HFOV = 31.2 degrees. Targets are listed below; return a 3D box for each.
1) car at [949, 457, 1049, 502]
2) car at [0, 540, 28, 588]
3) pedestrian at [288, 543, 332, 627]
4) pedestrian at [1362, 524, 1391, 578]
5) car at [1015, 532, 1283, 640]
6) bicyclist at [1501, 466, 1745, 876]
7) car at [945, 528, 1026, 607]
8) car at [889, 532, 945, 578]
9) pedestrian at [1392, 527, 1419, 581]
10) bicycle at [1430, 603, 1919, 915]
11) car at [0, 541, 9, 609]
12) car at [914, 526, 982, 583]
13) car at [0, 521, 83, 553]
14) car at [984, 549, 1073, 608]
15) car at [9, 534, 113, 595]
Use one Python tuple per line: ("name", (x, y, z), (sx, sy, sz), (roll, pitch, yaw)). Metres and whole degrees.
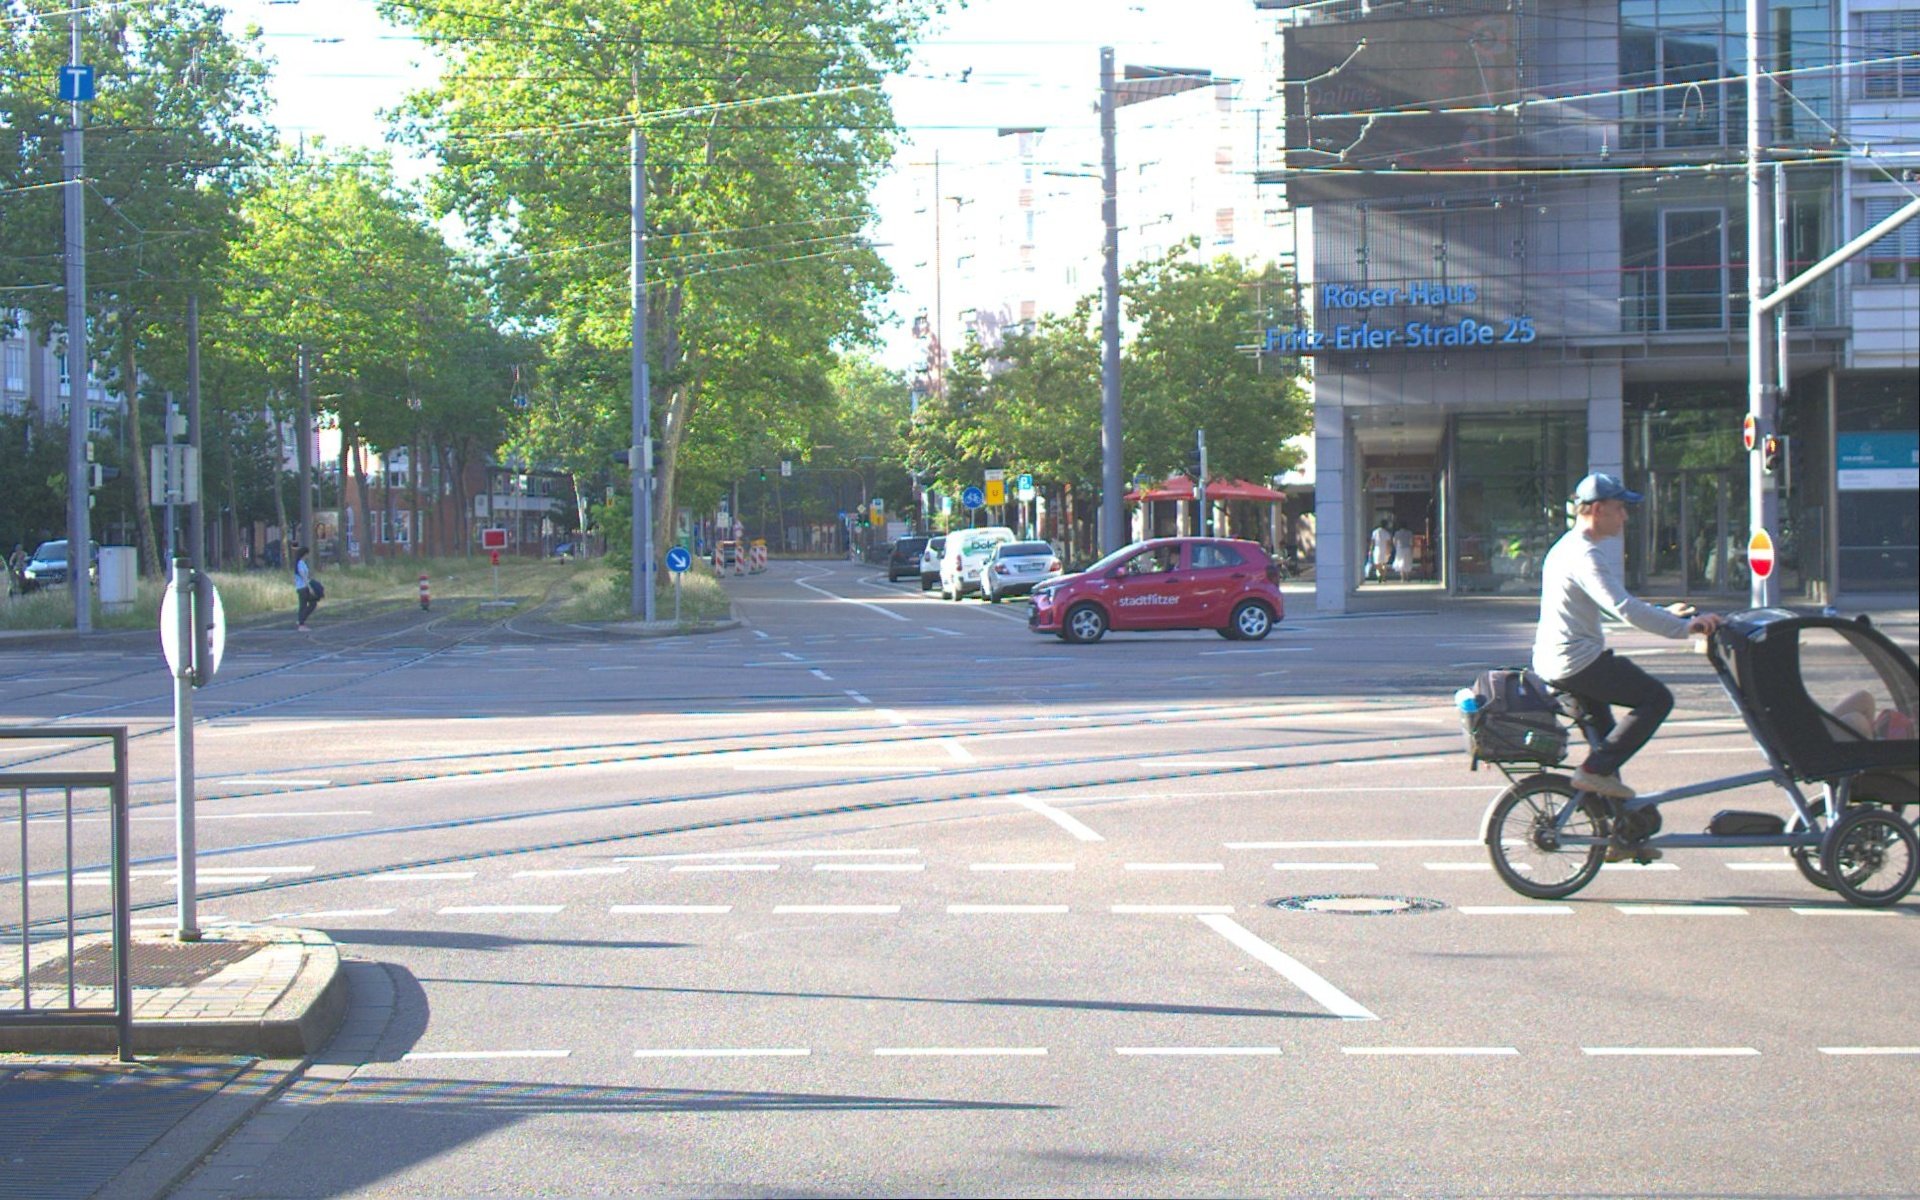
("car", (1.596, -4.910, 140.539), (3.764, 1.744, 1.780), (1, 0, 14))
("car", (-31.382, -1.181, 111.568), (1.906, 1.505, 4.001), (1, 1, -12))
("pedestrian", (-11.934, -0.276, 63.172), (0.754, 1.525, 0.508), (0, 1, -7))
("pedestrian", (11.410, -1.350, 94.181), (0.739, 1.460, 0.536), (-1, 1, 9))
("car", (2.694, -0.212, 49.437), (3.595, 1.461, 1.796), (-1, 1, -6))
("bicyclist", (2.778, 0.286, 14.469), (0.904, 1.675, 0.691), (-1, 1, 3))
("car", (0.640, -0.873, 89.697), (1.993, 1.985, 4.000), (-1, 1, -1))
("car", (-1.594, -1.664, 126.725), (1.993, 1.656, 4.000), (-1, 1, -1))
("pedestrian", (12.156, -1.265, 93.824), (0.706, 1.460, 0.384), (-1, 1, 9))
("bicycle", (3.100, 0.646, 14.431), (2.157, 1.222, 1.072), (0, 2, 3))
("car", (-21.972, -0.513, 74.466), (1.993, 1.503, 4.001), (-1, 1, -6))
("car", (-0.385, -1.398, 105.008), (1.993, 1.656, 4.000), (-1, 1, -1))
("car", (-46.438, -3.178, 173.429), (3.987, 1.547, 1.607), (1, 1, -31))
("car", (1.629, -0.537, 82.862), (1.993, 1.327, 4.000), (-1, 1, -1))
("car", (-23.180, -0.921, 88.779), (1.993, 1.503, 4.001), (-1, 1, -6))
